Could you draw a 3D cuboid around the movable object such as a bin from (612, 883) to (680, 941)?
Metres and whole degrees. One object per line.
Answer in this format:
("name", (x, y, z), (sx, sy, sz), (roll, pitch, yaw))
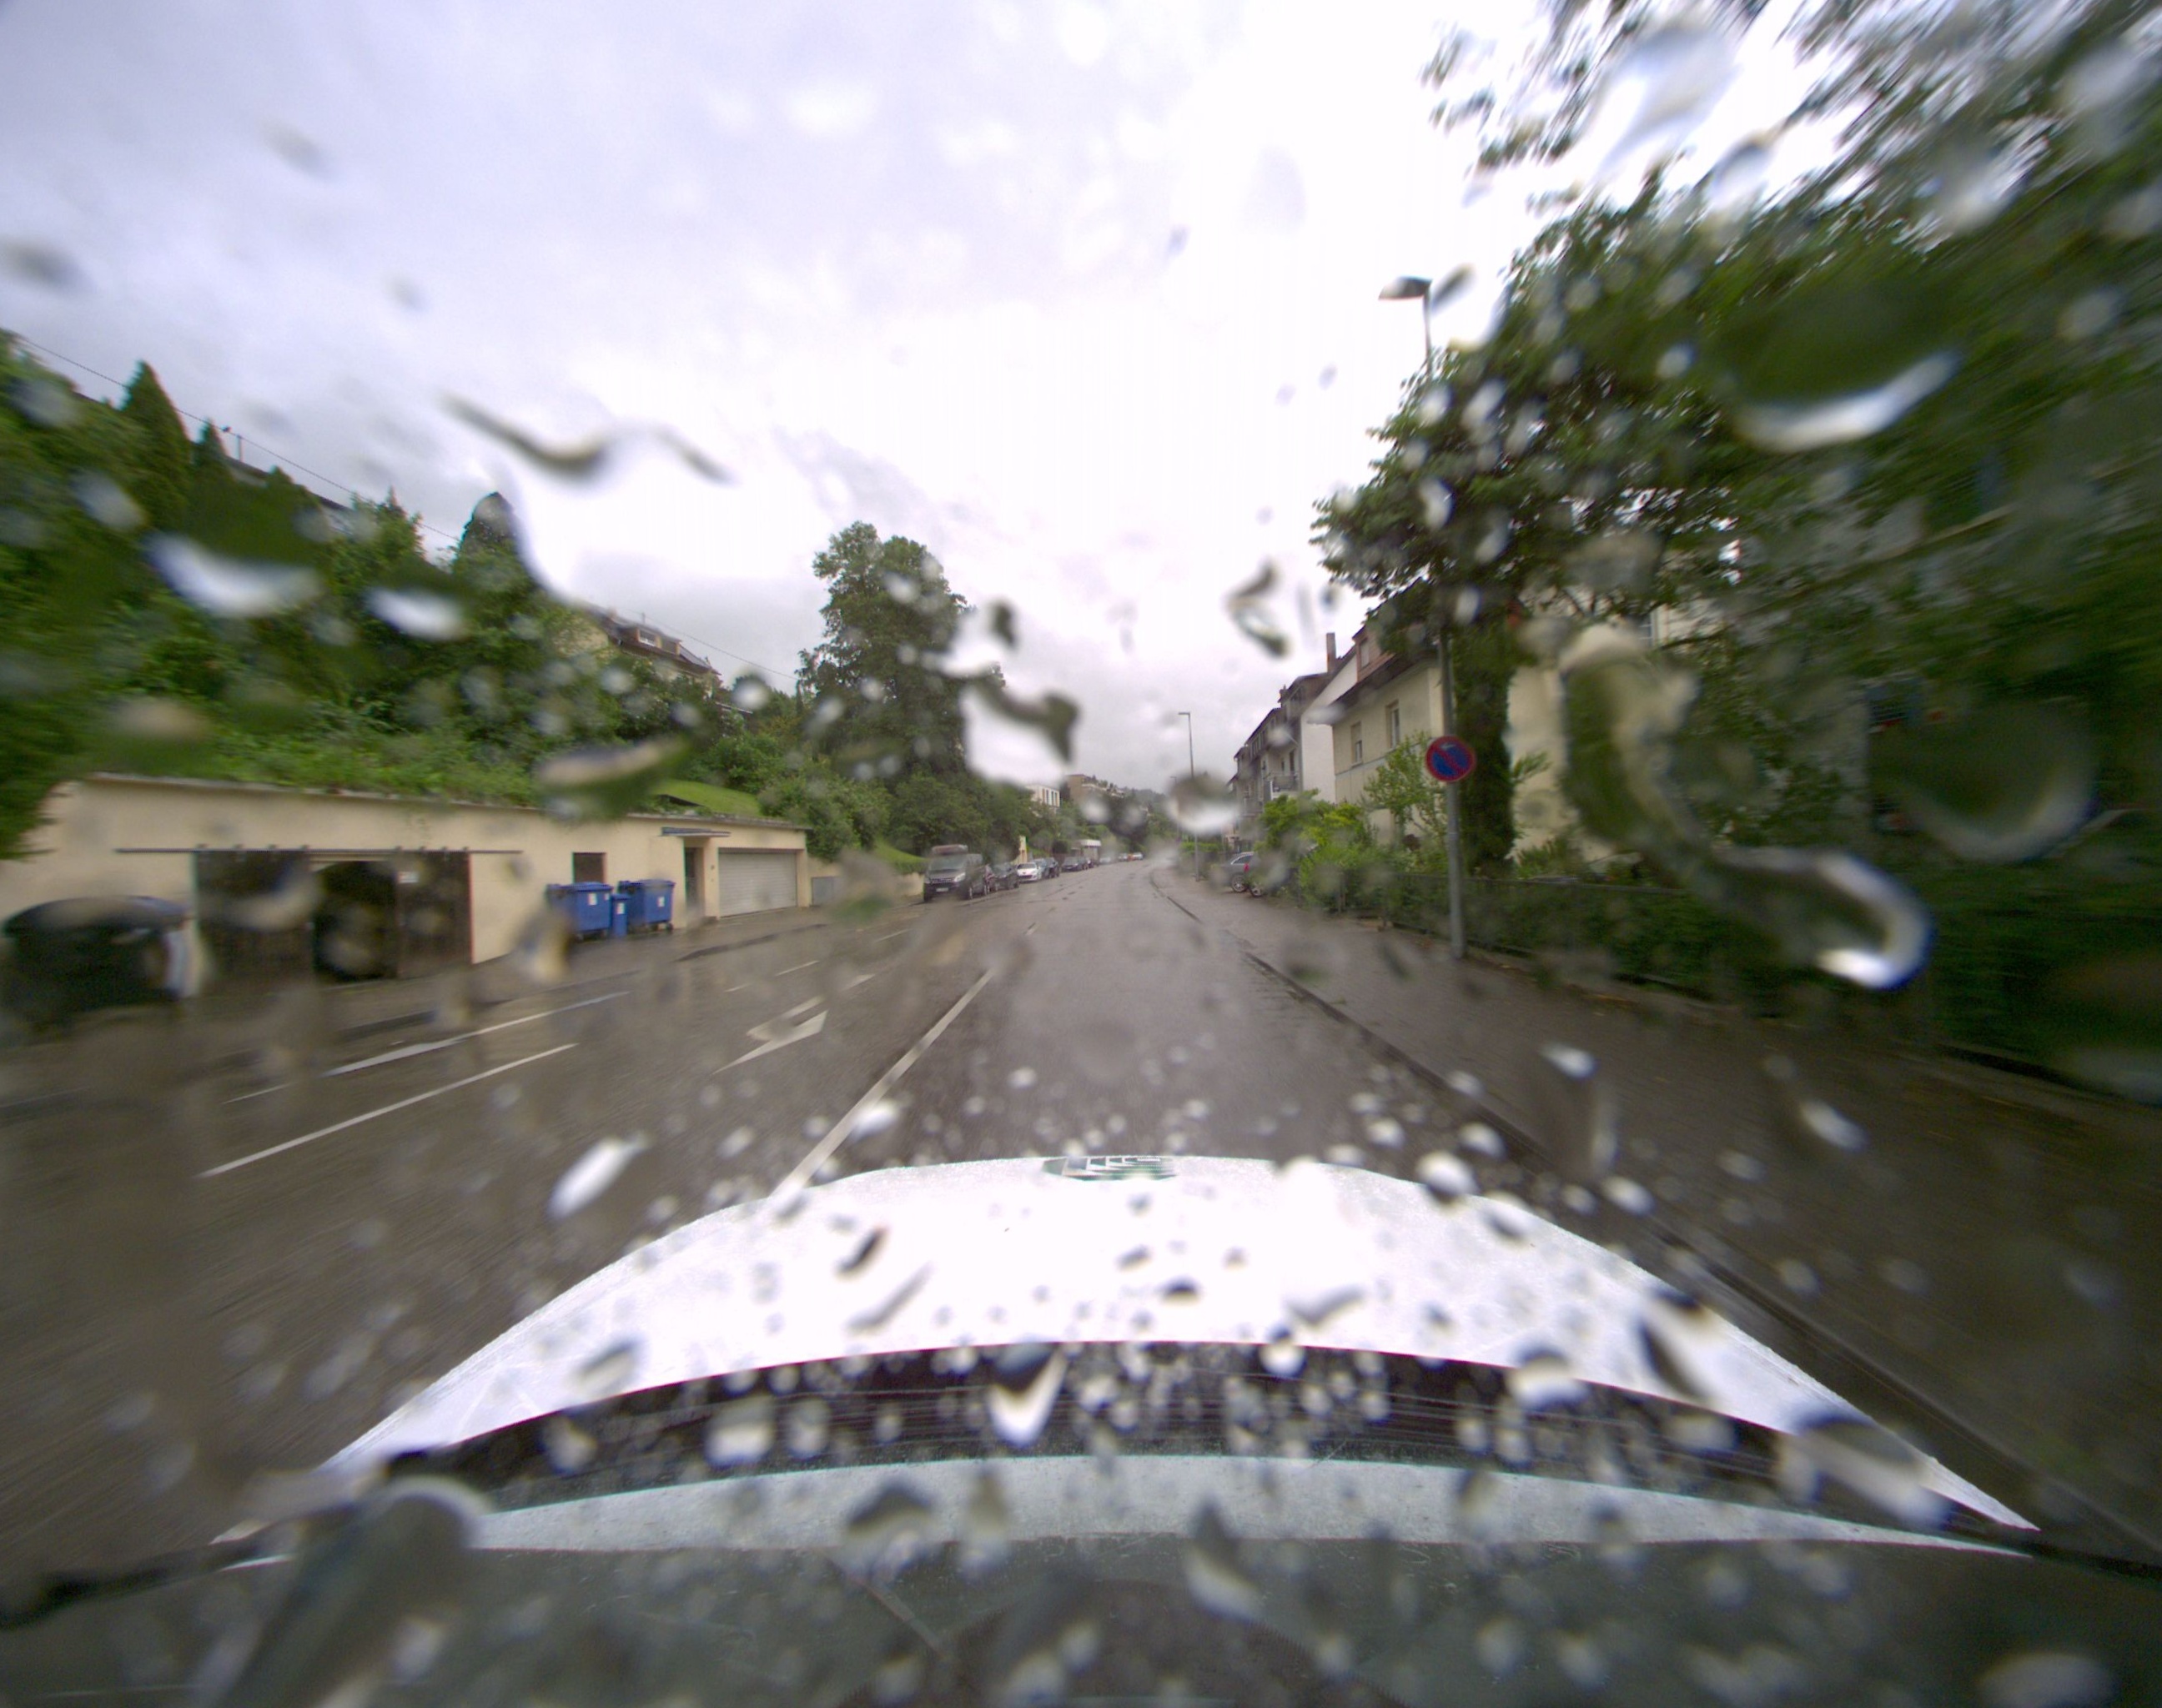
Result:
("movable object such as a bin", (-10.974, 1.442, 20.600), (0.816, 1.314, 1.404), (-2, 0, 6))

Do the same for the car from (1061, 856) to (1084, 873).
("car", (-0.902, 1.074, 84.833), (1.777, 1.454, 4.763), (-6, 0, 5))

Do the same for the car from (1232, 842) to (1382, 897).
("car", (6.821, 0.483, 24.723), (3.948, 1.456, 1.783), (-3, 1, 36))

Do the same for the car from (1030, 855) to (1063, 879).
("car", (-2.779, 1.018, 67.027), (1.865, 1.625, 4.601), (-6, 0, 6))

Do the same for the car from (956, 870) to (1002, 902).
("car", (-5.080, 1.579, 41.009), (1.558, 1.364, 3.910), (-5, 0, 3))

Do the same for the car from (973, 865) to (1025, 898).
("car", (-4.527, 1.512, 45.884), (1.899, 1.480, 4.762), (-6, 0, 5))

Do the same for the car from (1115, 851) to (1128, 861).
("car", (6.974, 0.363, 139.871), (1.746, 1.402, 3.779), (-6, 0, 8))

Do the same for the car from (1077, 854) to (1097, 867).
("car", (0.744, 0.792, 97.665), (1.799, 1.349, 3.783), (-5, 1, 7))

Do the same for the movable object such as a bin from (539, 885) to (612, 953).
("movable object such as a bin", (-11.329, 1.439, 18.285), (0.816, 1.382, 1.137), (-2, 0, 6))

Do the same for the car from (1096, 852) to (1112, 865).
("car", (3.285, 0.652, 117.293), (1.746, 1.539, 3.765), (-6, 0, 8))

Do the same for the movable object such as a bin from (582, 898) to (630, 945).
("movable object such as a bin", (-11.234, 1.594, 19.283), (0.732, 1.042, 0.608), (-2, 0, 6))

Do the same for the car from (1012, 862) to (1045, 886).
("car", (-3.633, 1.375, 57.049), (1.709, 1.365, 4.086), (-5, 1, 3))

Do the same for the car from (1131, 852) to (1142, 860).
("car", (10.814, 0.365, 158.724), (1.745, 1.497, 4.231), (-4, 0, 9))

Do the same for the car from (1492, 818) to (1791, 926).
("car", (9.777, 0.282, 14.499), (3.968, 1.579, 1.824), (3, 0, 5))

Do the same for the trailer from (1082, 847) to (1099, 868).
("trailer", (1.237, 0.396, 103.140), (1.527, 2.399, 3.082), (-5, 0, 10))

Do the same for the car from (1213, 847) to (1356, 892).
("car", (6.984, 0.548, 28.112), (4.325, 1.364, 1.932), (-3, -1, 36))

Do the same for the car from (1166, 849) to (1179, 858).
("car", (15.602, -0.111, 139.134), (1.777, 1.459, 4.322), (-3, 0, 12))

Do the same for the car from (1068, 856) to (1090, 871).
("car", (-0.192, 1.008, 90.871), (1.776, 1.415, 4.226), (-5, 1, 7))

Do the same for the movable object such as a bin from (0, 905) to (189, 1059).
("movable object such as a bin", (-10.032, 1.258, 8.281), (0.929, 1.445, 0.862), (0, -1, 0))

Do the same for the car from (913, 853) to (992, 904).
("car", (-5.485, 0.979, 35.555), (2.149, 1.919, 5.329), (-4, 0, 4))
